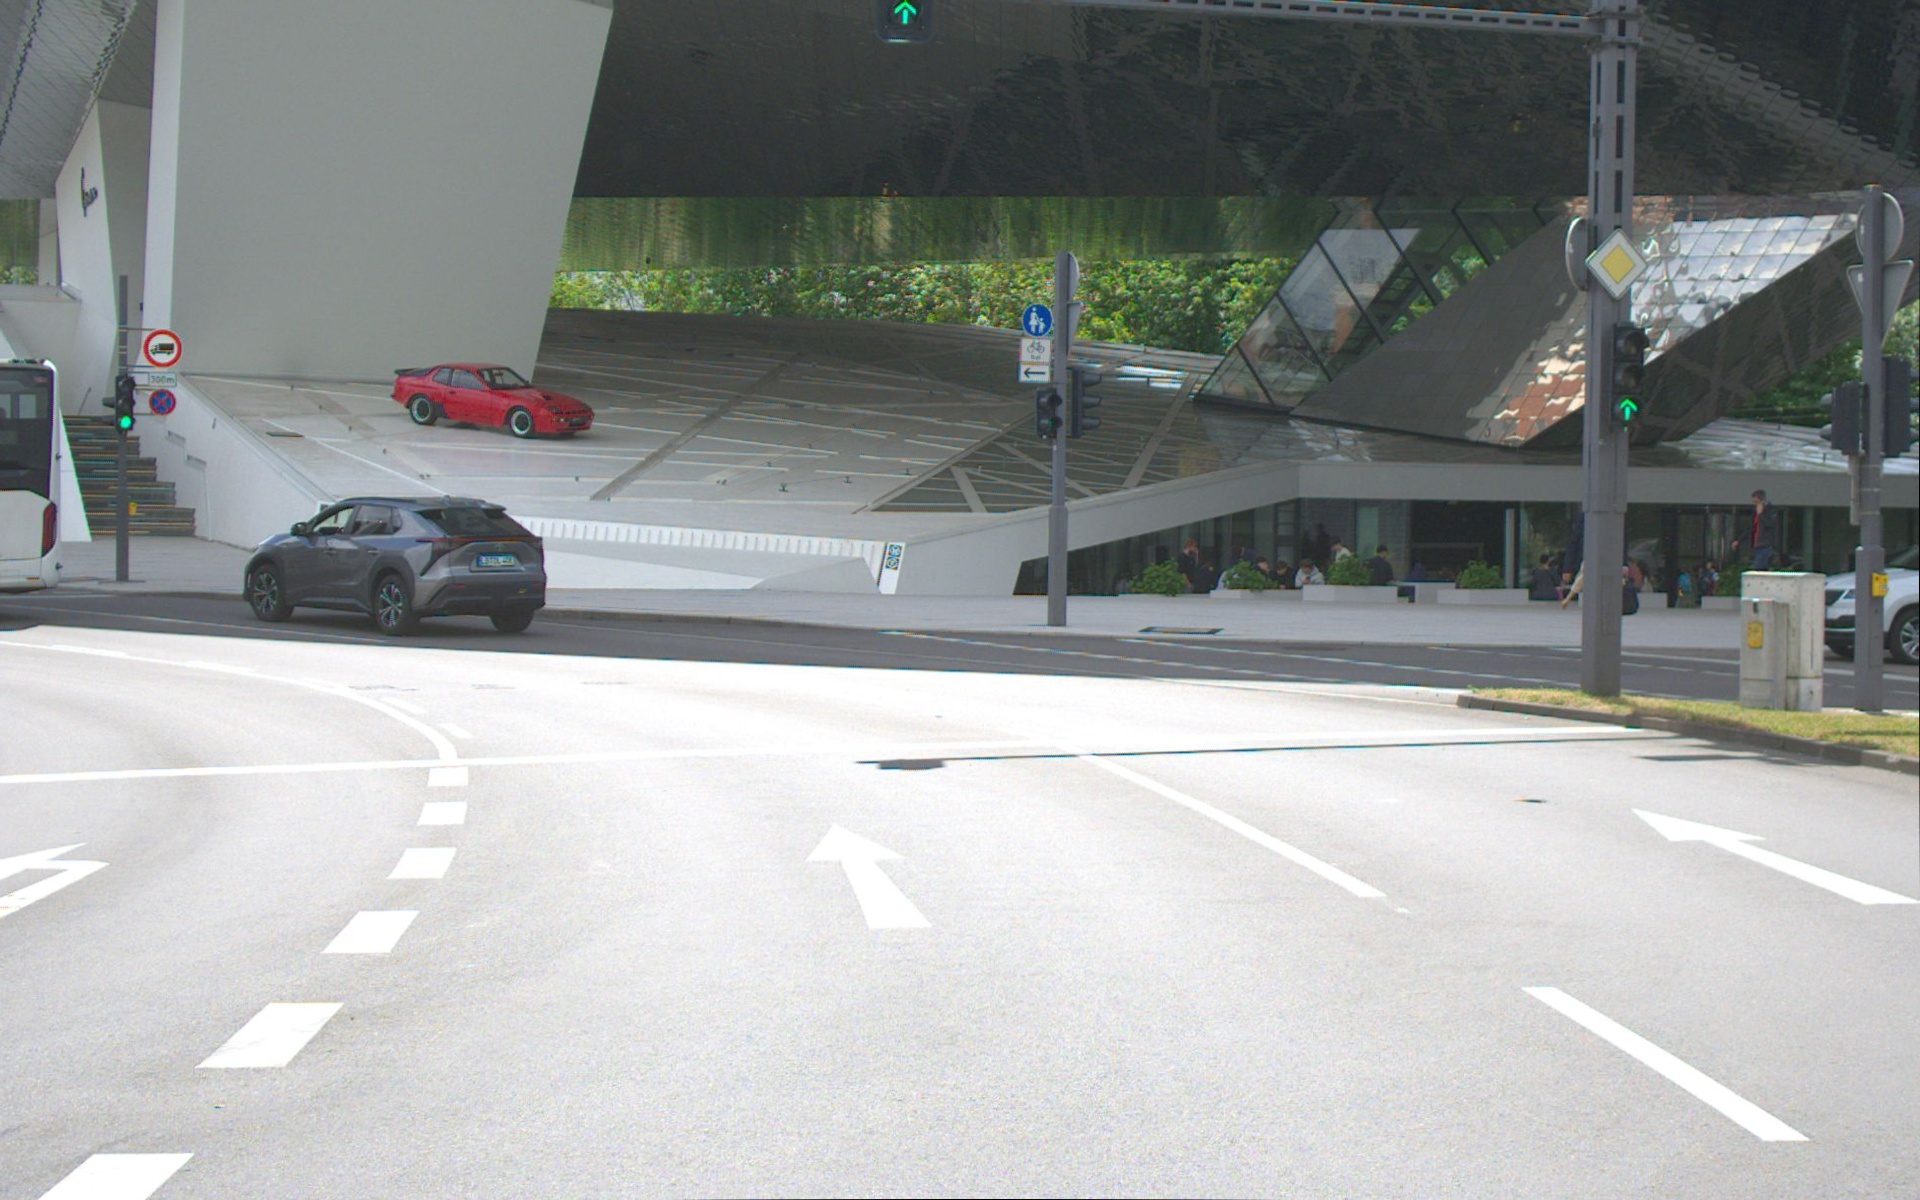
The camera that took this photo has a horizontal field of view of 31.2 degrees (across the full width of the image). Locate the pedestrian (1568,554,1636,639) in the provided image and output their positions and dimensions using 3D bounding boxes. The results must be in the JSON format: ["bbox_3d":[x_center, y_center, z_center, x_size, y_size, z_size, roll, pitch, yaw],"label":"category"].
[{"bbox_3d":[12.184,-0.069,65.254,0.827,1.567,0.923,2,0,-27],"label":"pedestrian"}]

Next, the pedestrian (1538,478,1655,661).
[{"bbox_3d":[7.125,-0.355,38.537,0.953,1.978,1.381,2,2,-2],"label":"pedestrian"}]

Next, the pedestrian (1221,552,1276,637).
[{"bbox_3d":[5.431,-0.098,64.710,0.921,1.567,0.830,2,0,9],"label":"pedestrian"}]

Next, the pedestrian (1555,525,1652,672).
[{"bbox_3d":[6.664,-0.018,35.607,0.771,1.491,0.582,1,0,40],"label":"pedestrian"}]

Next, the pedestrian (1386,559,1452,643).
[{"bbox_3d":[8.700,0.020,65.181,0.827,1.567,0.923,2,0,-27],"label":"pedestrian"}]

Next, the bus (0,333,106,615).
[{"bbox_3d":[-15.687,-1.810,45.697,3.073,3.350,12.219,2,1,-41],"label":"bus"}]

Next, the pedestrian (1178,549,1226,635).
[{"bbox_3d":[4.481,-0.146,63.715,0.828,1.567,0.923,2,0,5],"label":"pedestrian"}]

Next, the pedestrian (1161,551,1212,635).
[{"bbox_3d":[4.283,-0.129,64.904,0.828,1.567,0.923,2,0,10],"label":"pedestrian"}]

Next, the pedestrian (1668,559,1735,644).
[{"bbox_3d":[13.979,0.022,64.849,0.827,1.567,0.924,2,0,-20],"label":"pedestrian"}]

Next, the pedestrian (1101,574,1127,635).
[{"bbox_3d":[3.202,0.088,71.518,0.472,1.249,0.562,2,0,5],"label":"pedestrian"}]

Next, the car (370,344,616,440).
[{"bbox_3d":[-9.355,-4.189,68.742,4.505,1.390,1.997,9,8,28],"label":"car"}]

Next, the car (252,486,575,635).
[{"bbox_3d":[-6.666,-0.522,41.699,1.994,1.631,3.998,-1,3,-42],"label":"car"}]

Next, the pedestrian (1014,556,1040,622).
[{"bbox_3d":[1.274,-0.209,65.368,0.394,1.249,0.400,2,0,-7],"label":"pedestrian"}]

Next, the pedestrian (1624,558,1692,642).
[{"bbox_3d":[13.290,0.004,65.470,0.827,1.567,0.923,2,0,-27],"label":"pedestrian"}]

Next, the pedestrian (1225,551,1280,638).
[{"bbox_3d":[5.424,-0.101,63.644,0.921,1.567,0.830,2,0,9],"label":"pedestrian"}]

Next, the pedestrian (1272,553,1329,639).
[{"bbox_3d":[6.379,-0.072,64.336,0.795,1.567,0.692,1,0,34],"label":"pedestrian"}]

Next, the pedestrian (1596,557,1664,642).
[{"bbox_3d":[12.556,-0.018,64.411,0.827,1.567,0.923,2,0,-27],"label":"pedestrian"}]

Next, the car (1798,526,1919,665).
[{"bbox_3d":[11.930,-0.074,39.626,3.986,1.544,1.839,-1,0,-11],"label":"car"}]

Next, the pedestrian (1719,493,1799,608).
[{"bbox_3d":[12.971,-0.804,55.822,0.827,1.820,0.923,2,0,-27],"label":"pedestrian"}]

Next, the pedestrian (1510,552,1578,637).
[{"bbox_3d":[10.934,-0.104,64.343,0.827,1.567,0.923,2,0,-27],"label":"pedestrian"}]
